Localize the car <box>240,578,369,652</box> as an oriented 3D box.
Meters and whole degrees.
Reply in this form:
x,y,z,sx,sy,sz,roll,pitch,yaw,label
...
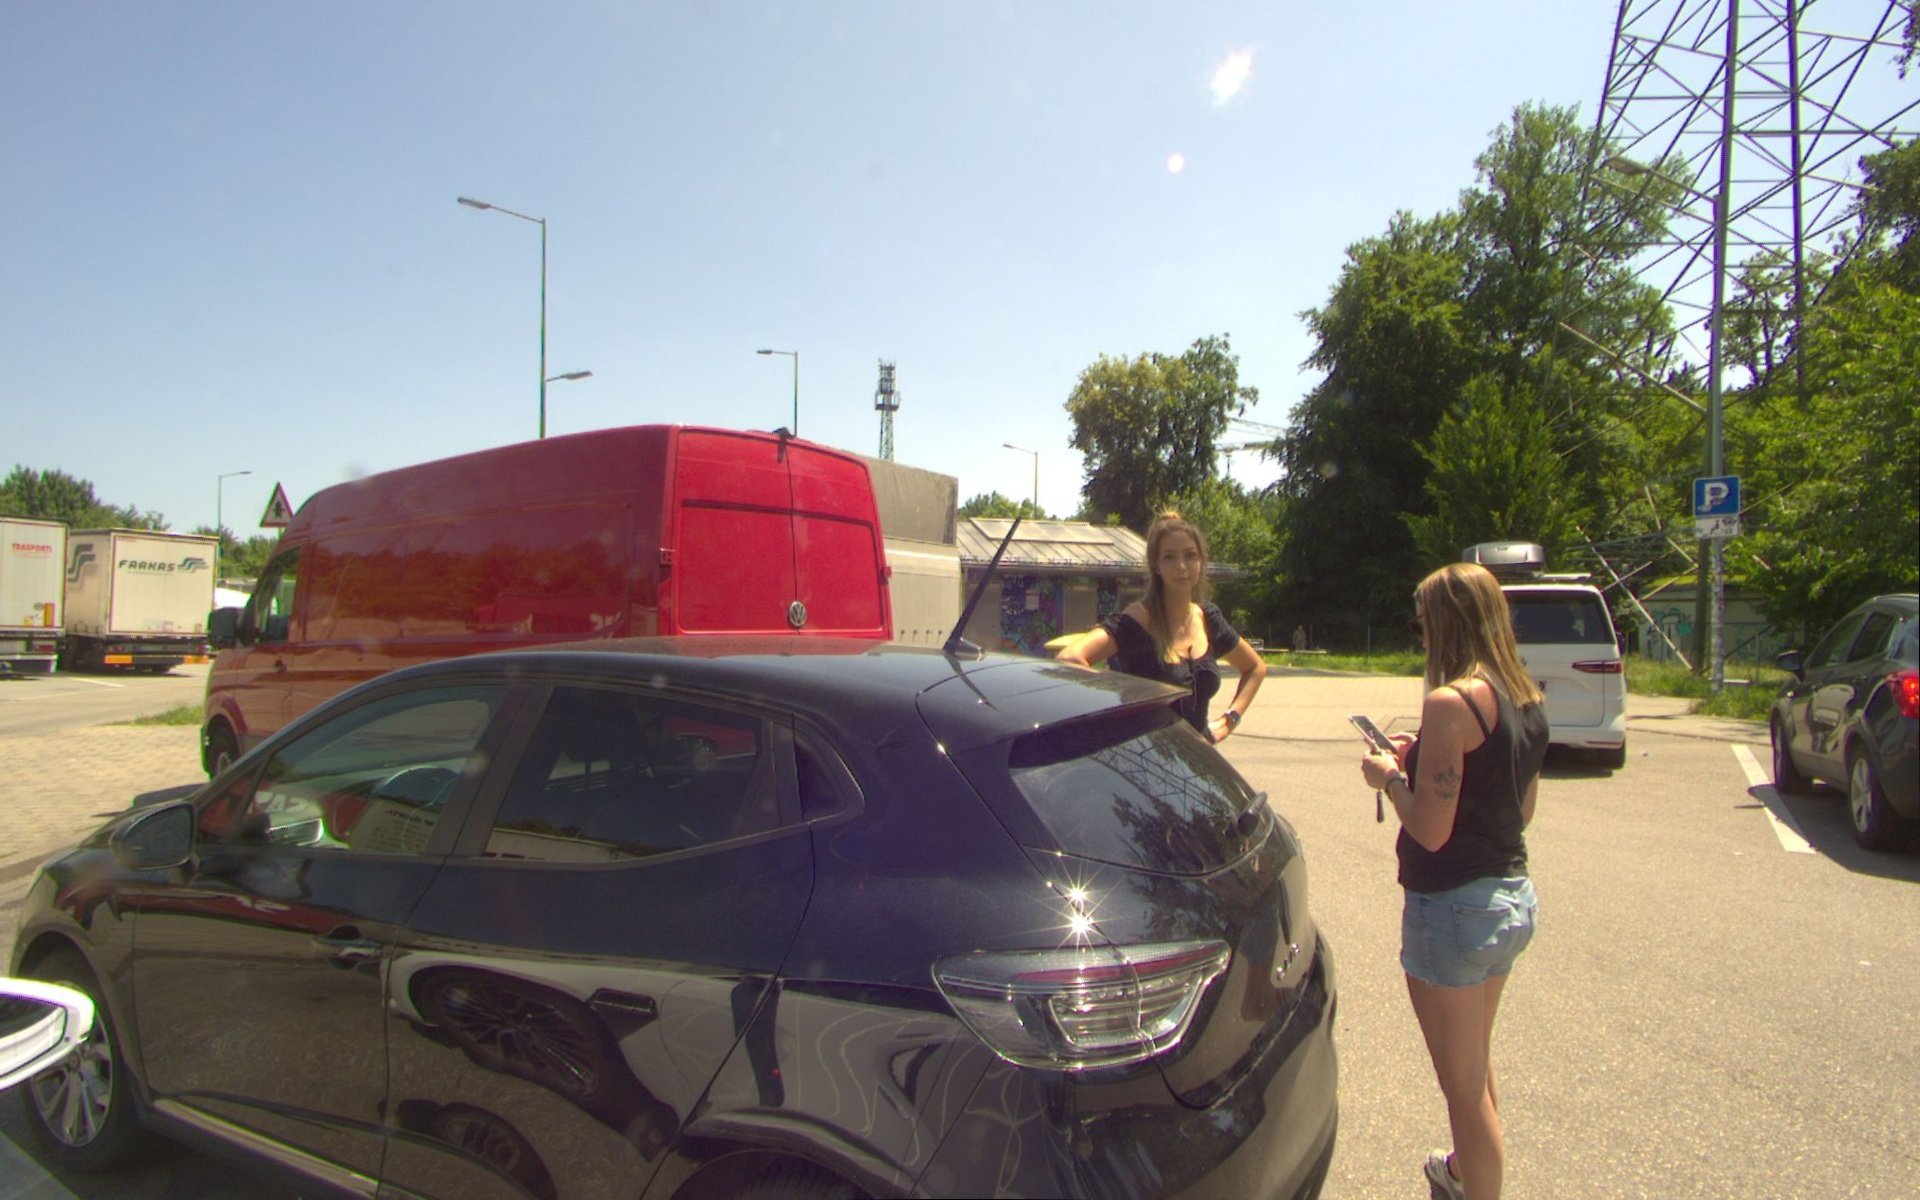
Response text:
x,y,z,sx,sy,sz,roll,pitch,yaw,label
-29.454,0.676,44.931,6.259,3.114,2.495,0,-1,32,car

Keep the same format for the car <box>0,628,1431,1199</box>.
x,y,z,sx,sy,sz,roll,pitch,yaw,label
-0.749,0.832,2.766,3.629,1.476,1.775,-1,-2,28,car

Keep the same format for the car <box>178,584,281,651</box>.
x,y,z,sx,sy,sz,roll,pitch,yaw,label
-29.924,0.758,41.014,3.943,2.632,2.111,-1,-2,32,car

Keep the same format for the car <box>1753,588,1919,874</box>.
x,y,z,sx,sy,sz,roll,pitch,yaw,label
7.197,0.804,7.125,1.811,1.638,4.149,0,-1,30,car

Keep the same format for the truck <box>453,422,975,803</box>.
x,y,z,sx,sy,sz,roll,pitch,yaw,label
-2.508,0.178,9.923,4.751,2.863,2.514,-1,-2,34,truck

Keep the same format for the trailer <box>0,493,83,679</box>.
x,y,z,sx,sy,sz,roll,pitch,yaw,label
-28.524,-0.337,27.816,12.642,4.511,2.677,0,-1,32,trailer

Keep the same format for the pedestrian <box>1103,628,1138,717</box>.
x,y,z,sx,sy,sz,roll,pitch,yaw,label
2.507,1.114,15.639,0.439,1.362,0.477,0,0,23,pedestrian

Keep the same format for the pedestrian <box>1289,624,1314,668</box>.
x,y,z,sx,sy,sz,roll,pitch,yaw,label
16.212,2.185,47.566,0.955,2.039,0.829,0,-1,10,pedestrian

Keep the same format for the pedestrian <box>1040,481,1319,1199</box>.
x,y,z,sx,sy,sz,roll,pitch,yaw,label
0.712,0.643,3.126,0.481,1.884,0.906,0,-1,39,pedestrian

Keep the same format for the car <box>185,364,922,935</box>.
x,y,z,sx,sy,sz,roll,pitch,yaw,label
-3.371,0.257,7.350,6.298,2.668,1.988,0,-1,36,car

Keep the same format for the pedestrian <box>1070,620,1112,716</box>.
x,y,z,sx,sy,sz,roll,pitch,yaw,label
2.073,1.055,15.832,0.521,1.478,0.576,0,0,23,pedestrian

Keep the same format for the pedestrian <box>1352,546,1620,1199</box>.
x,y,z,sx,sy,sz,roll,pitch,yaw,label
1.186,0.708,2.282,0.478,1.615,0.501,0,0,29,pedestrian

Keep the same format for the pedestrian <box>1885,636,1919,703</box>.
x,y,z,sx,sy,sz,roll,pitch,yaw,label
17.350,1.247,18.075,0.694,1.178,0.787,-1,-1,22,pedestrian

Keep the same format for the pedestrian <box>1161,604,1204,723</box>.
x,y,z,sx,sy,sz,roll,pitch,yaw,label
3.417,0.953,15.357,0.520,1.783,0.651,0,0,23,pedestrian

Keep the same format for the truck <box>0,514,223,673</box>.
x,y,z,sx,sy,sz,roll,pitch,yaw,label
-27.110,-0.021,31.202,11.800,4.279,2.582,-1,-2,32,truck

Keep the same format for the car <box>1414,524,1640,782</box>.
x,y,z,sx,sy,sz,roll,pitch,yaw,label
6.704,0.552,11.965,1.901,2.401,4.954,1,-1,29,car
